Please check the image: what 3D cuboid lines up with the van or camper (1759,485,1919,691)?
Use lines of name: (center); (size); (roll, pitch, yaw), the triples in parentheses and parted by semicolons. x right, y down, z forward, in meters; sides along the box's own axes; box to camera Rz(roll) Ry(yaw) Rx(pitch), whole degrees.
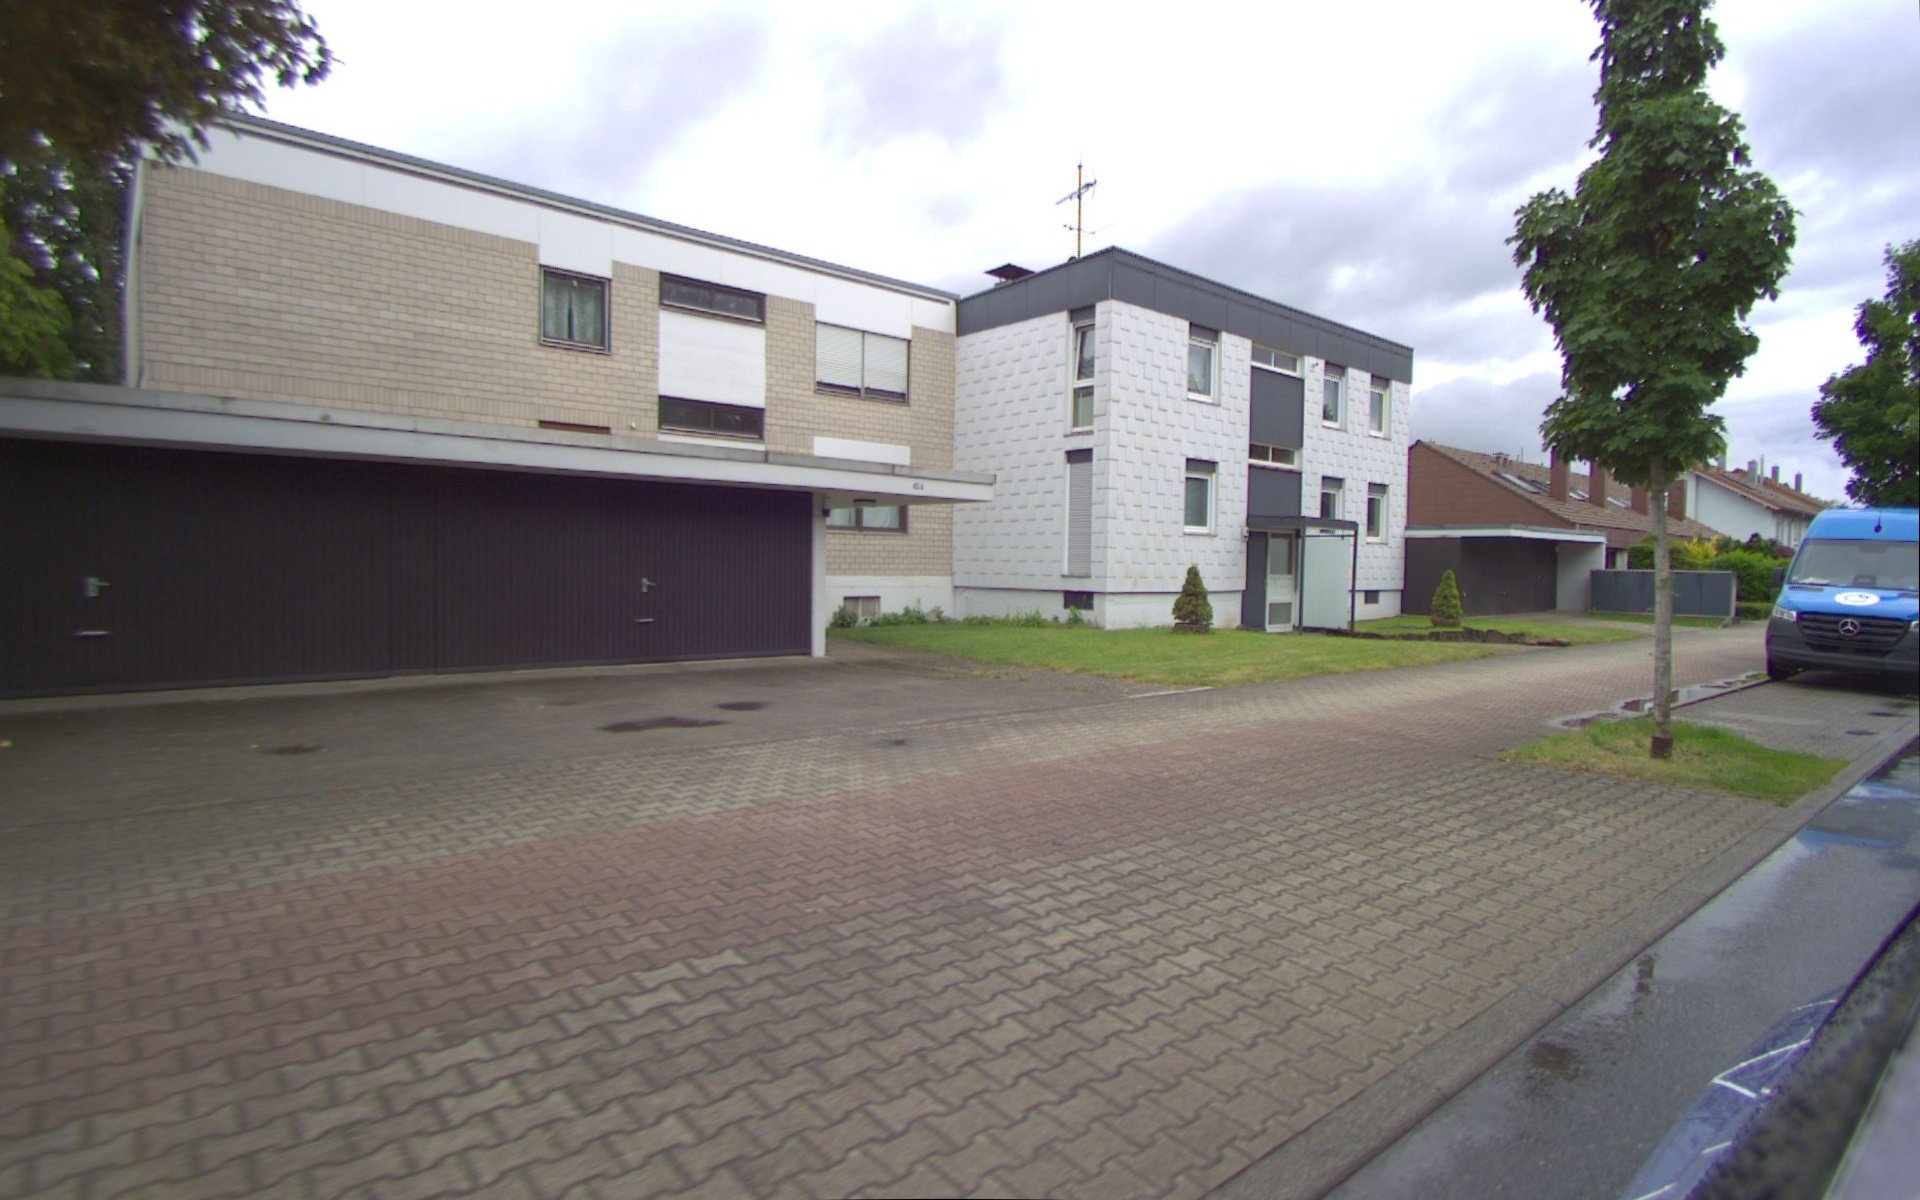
van or camper: (14.152, -0.218, 15.245); (5.680, 2.640, 2.148); (-1, 3, -40)
